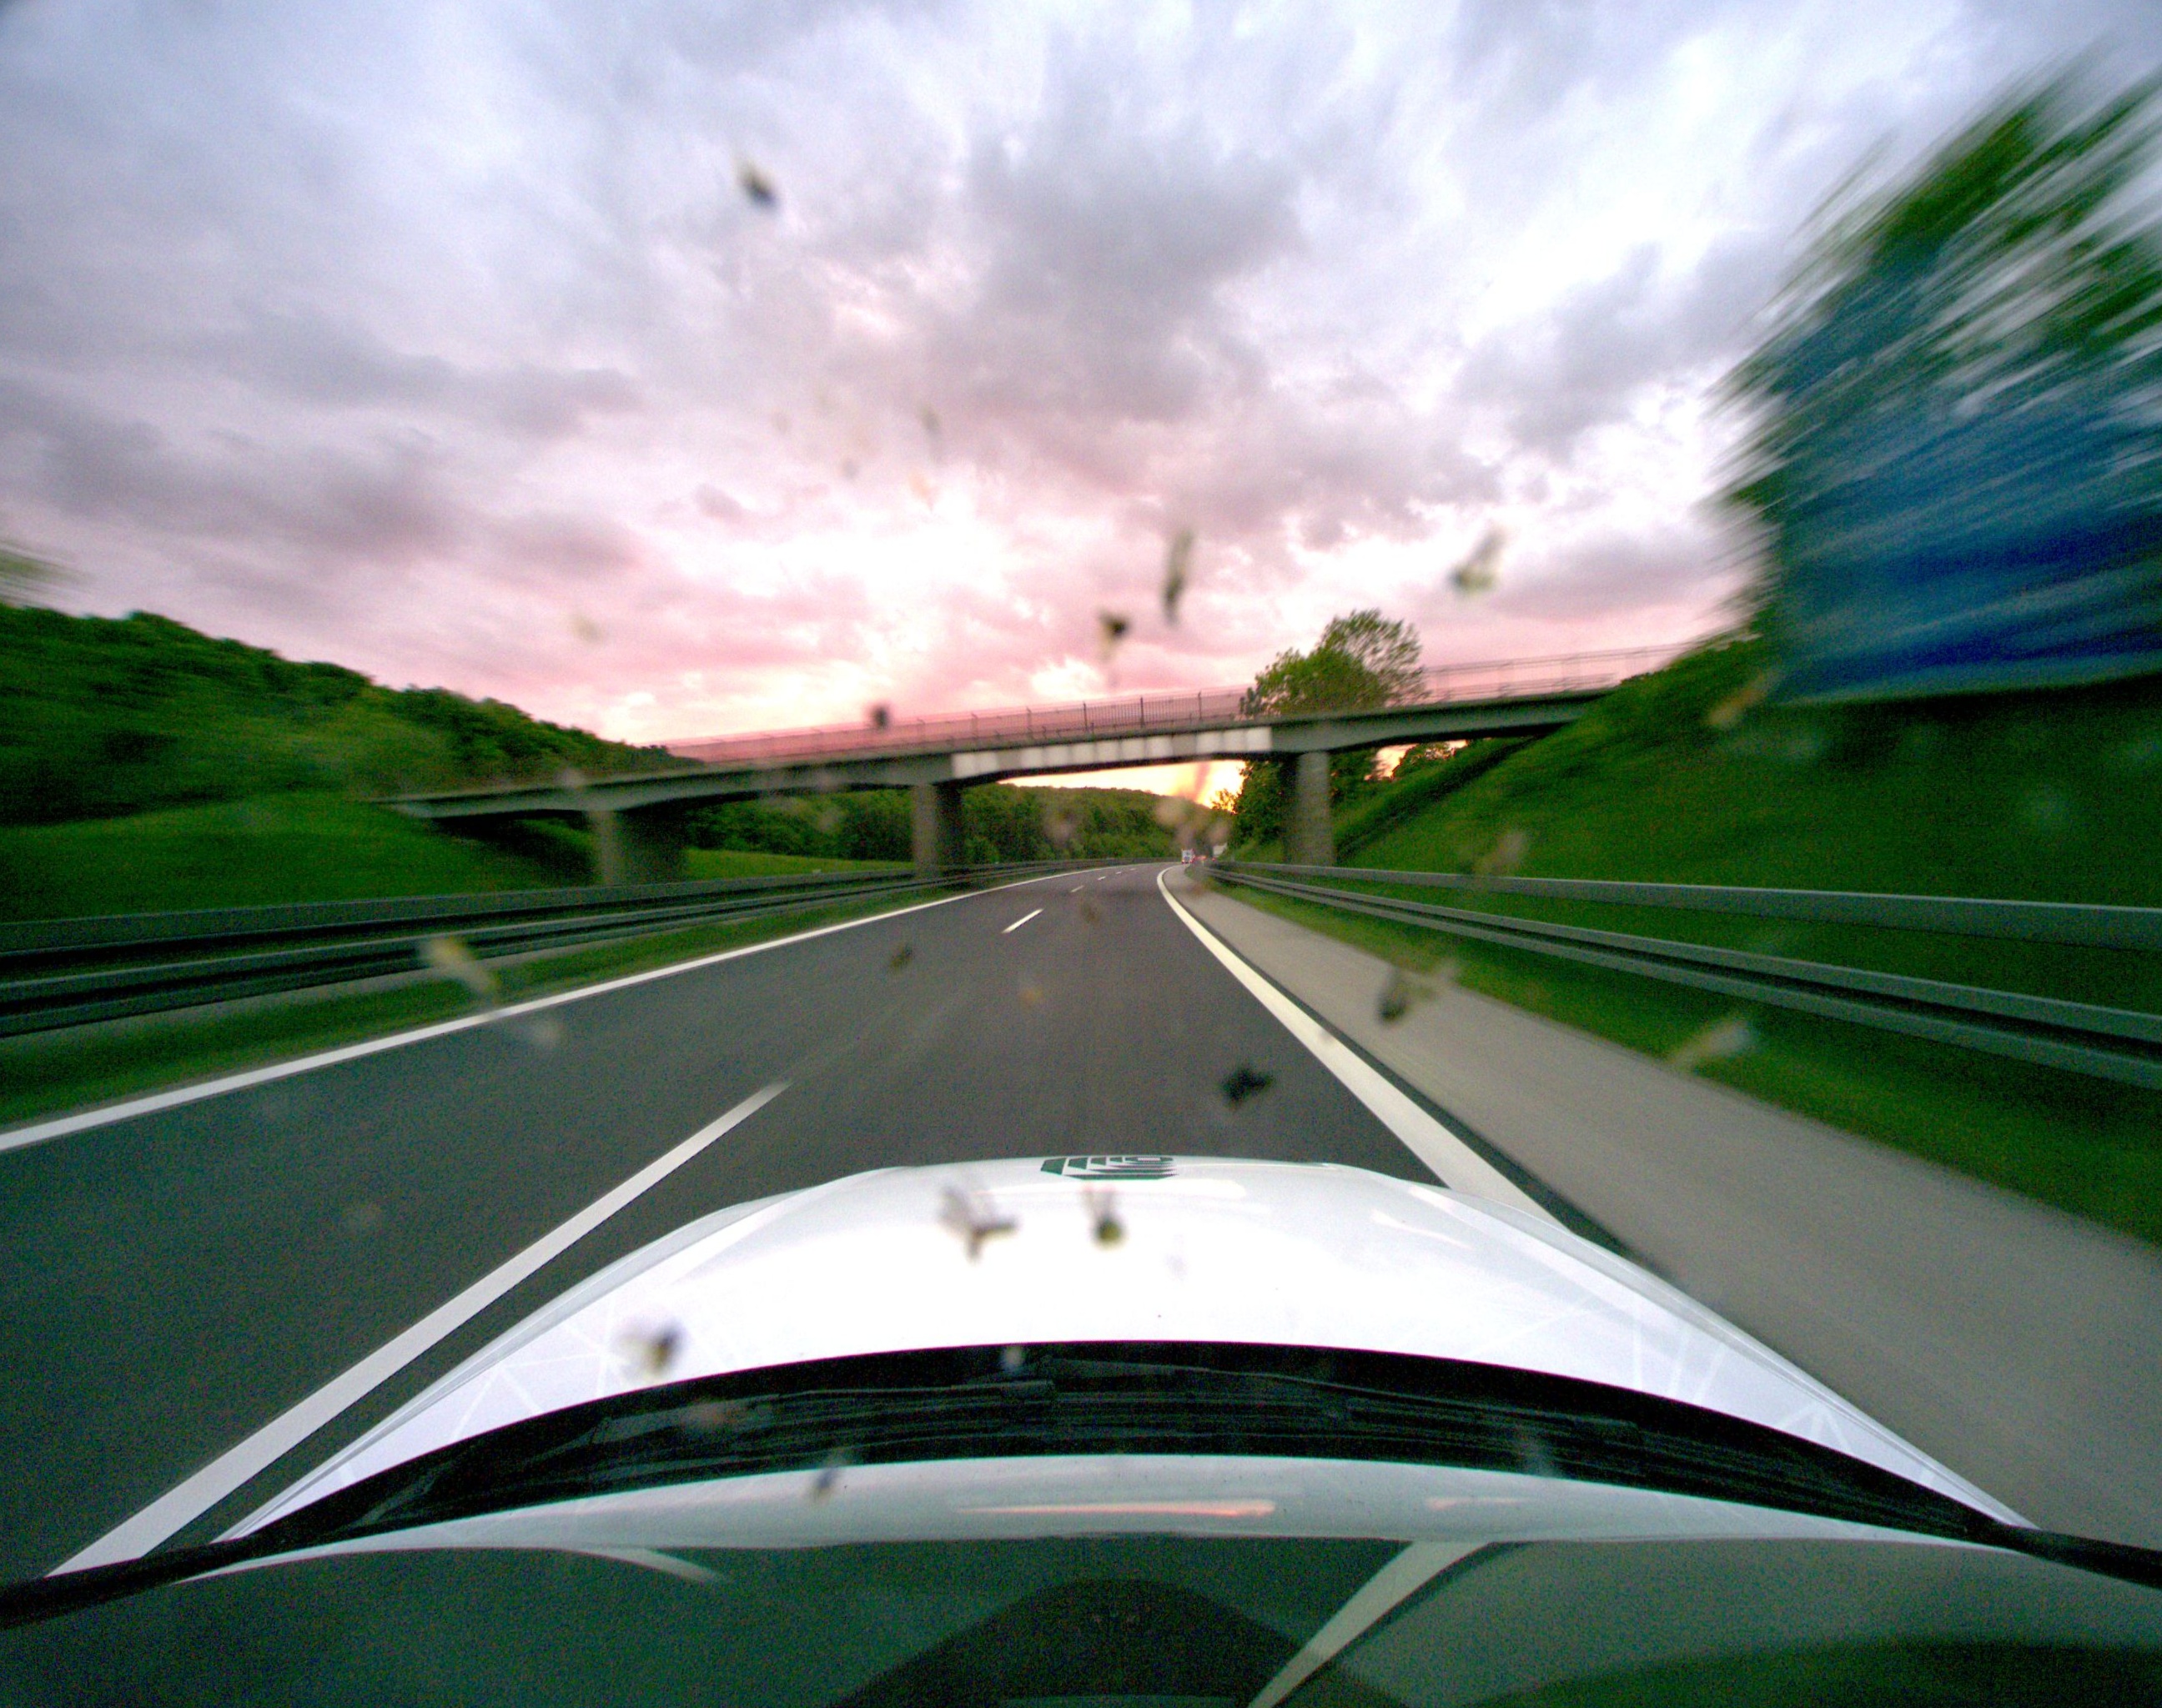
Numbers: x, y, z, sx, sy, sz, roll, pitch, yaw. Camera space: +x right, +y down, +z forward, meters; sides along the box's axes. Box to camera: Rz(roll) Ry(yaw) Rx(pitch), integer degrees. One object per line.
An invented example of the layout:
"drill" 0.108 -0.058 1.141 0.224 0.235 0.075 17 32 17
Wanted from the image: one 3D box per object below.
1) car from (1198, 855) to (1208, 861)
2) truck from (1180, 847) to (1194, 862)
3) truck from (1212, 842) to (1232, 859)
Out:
"car" 31.920 1.010 213.224 1.979 1.517 4.016 -2 0 15
"truck" 20.657 0.141 158.801 2.260 2.664 5.254 -3 1 12
"truck" 37.970 -0.936 218.934 3.929 4.287 14.381 -2 0 15
